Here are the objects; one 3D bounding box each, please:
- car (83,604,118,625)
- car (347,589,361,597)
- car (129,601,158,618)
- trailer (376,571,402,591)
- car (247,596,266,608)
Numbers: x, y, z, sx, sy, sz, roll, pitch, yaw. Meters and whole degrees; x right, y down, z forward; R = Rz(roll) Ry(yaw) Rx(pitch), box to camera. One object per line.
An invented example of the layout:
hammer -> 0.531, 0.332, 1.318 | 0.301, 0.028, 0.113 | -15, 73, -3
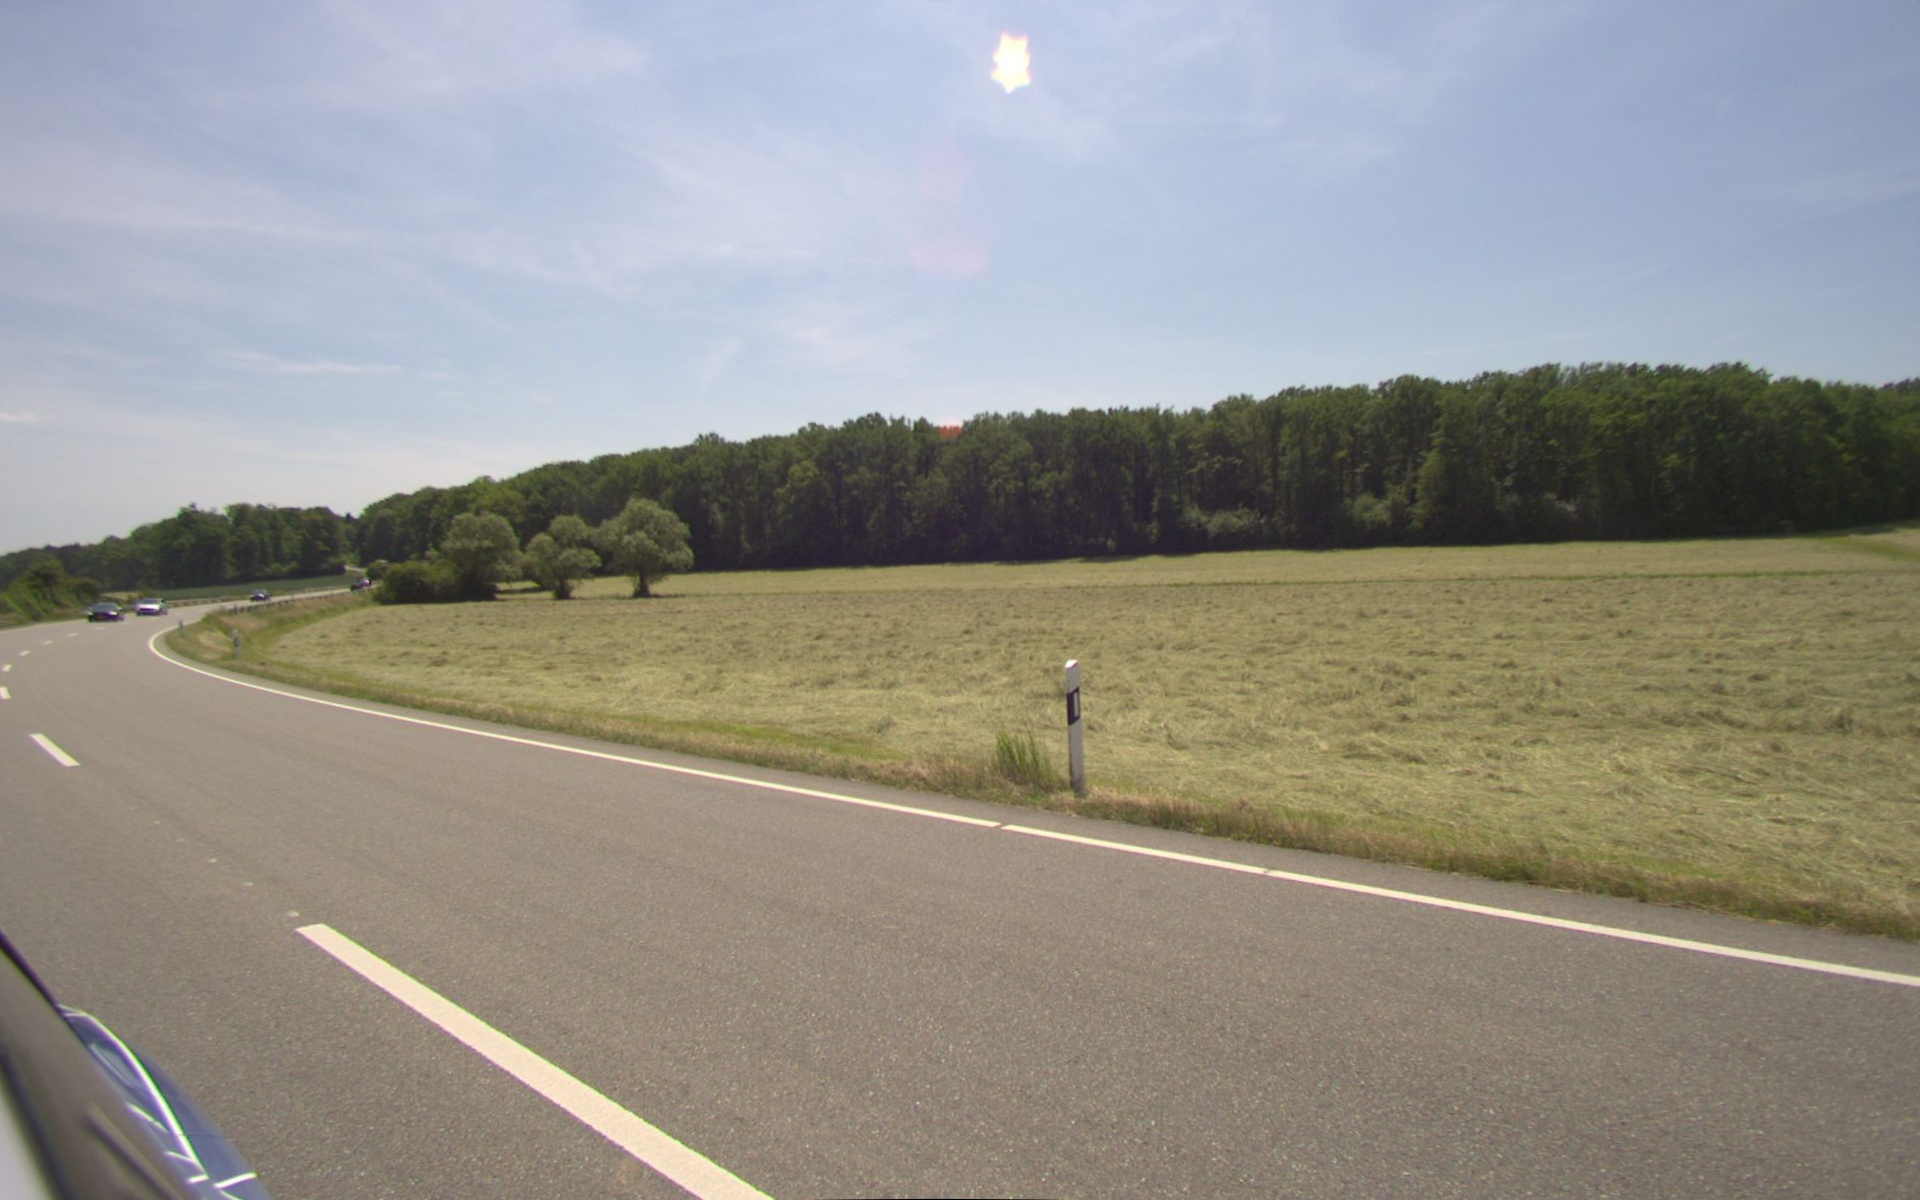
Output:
car -> -66.686, 1.112, 78.559 | 1.596, 1.447, 3.453 | -2, 2, -33
car -> -109.242, -1.317, 182.428 | 1.676, 1.480, 4.214 | 0, 0, -25
car -> -75.386, 0.838, 93.441 | 1.595, 1.447, 3.453 | -2, 2, -32
trailer -> -124.887, -4.099, 221.522 | 3.195, 4.181, 14.492 | 1, 1, -22
car -> -96.041, 0.263, 138.233 | 1.595, 1.447, 3.455 | -2, 2, -25
